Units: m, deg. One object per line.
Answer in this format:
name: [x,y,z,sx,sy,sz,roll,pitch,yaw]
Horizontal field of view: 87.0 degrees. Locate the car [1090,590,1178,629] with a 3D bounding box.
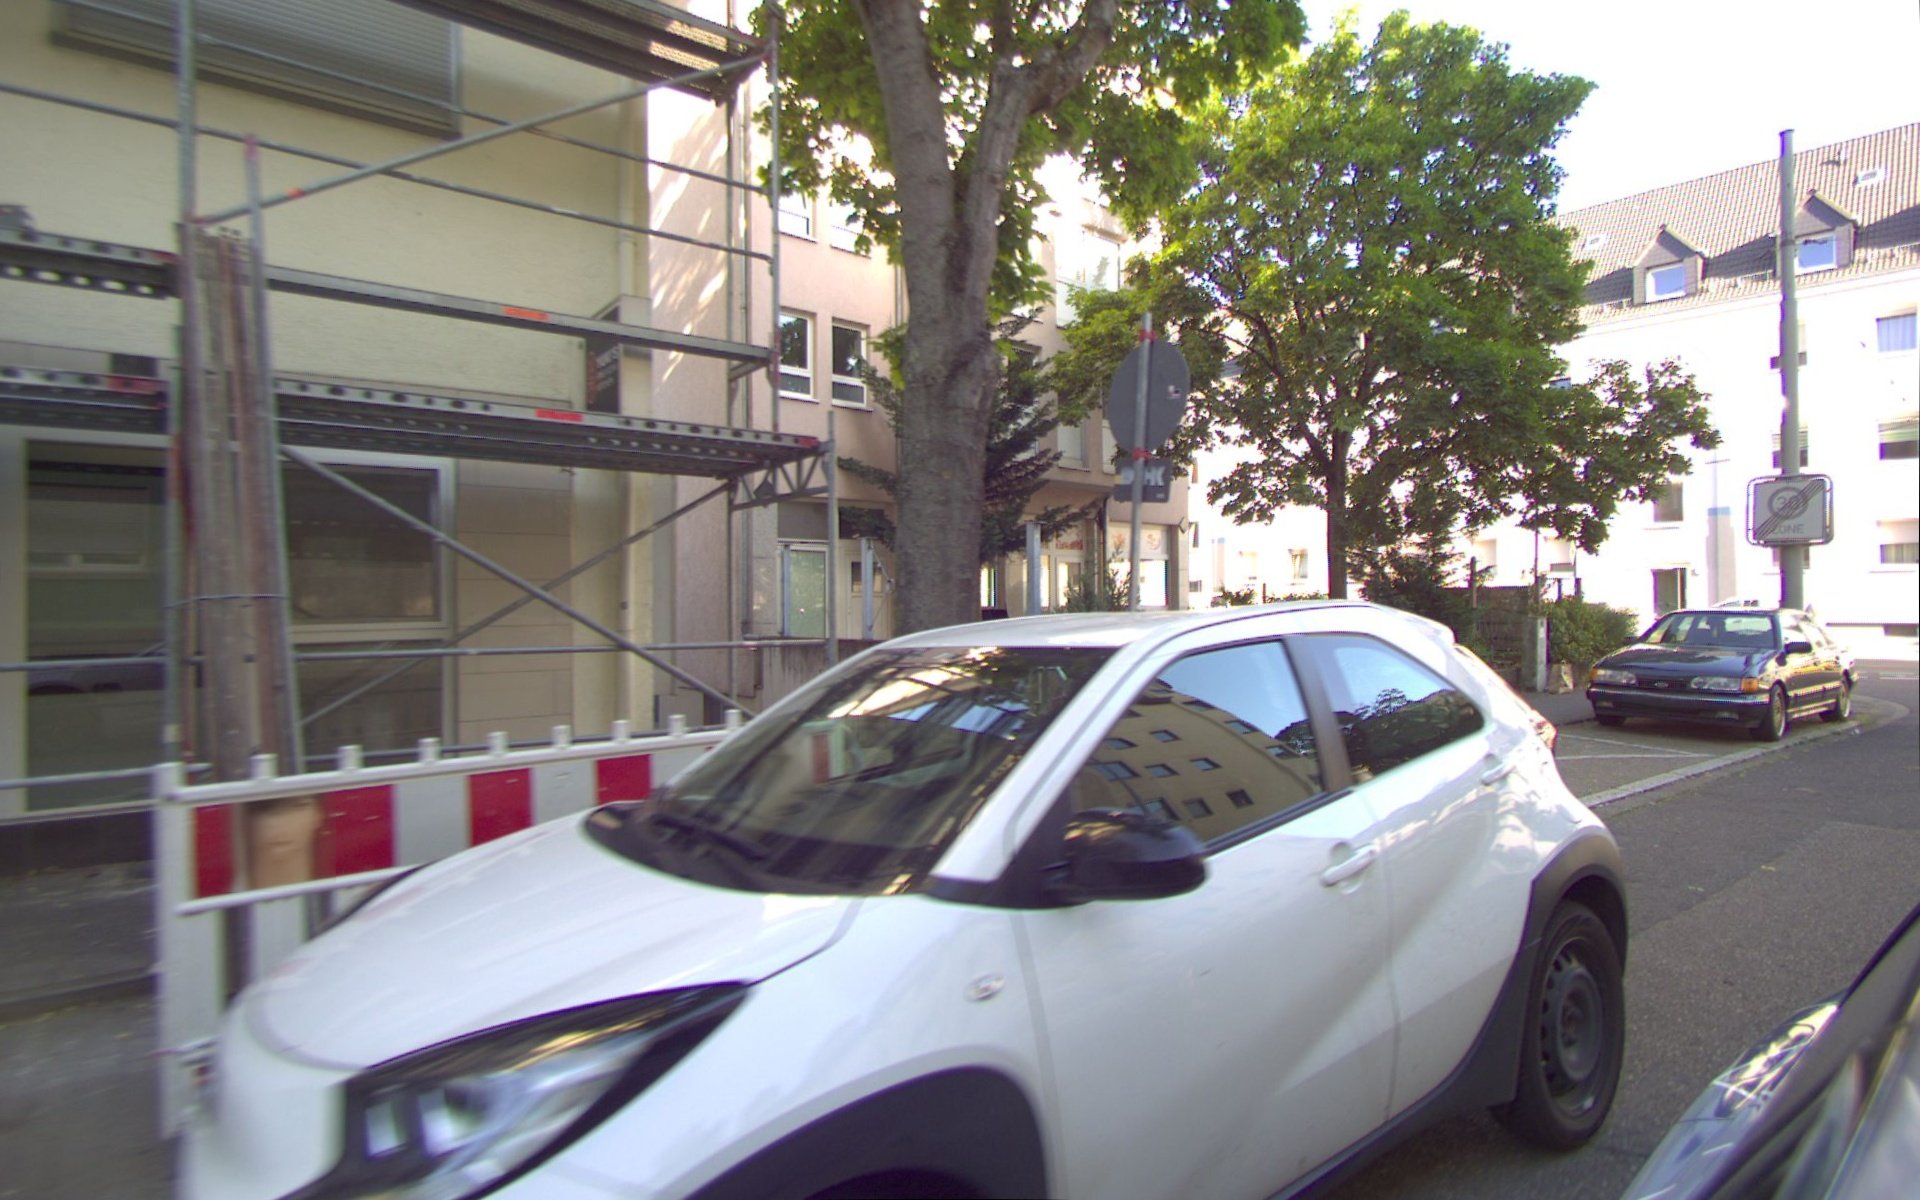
car: [8.357,0.466,48.713,1.666,1.804,3.991,0,-1,-42]

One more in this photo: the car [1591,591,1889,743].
car: [9.379,0.650,12.046,4.424,1.425,1.666,-1,3,-37]

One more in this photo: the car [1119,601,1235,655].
car: [5.923,0.738,27.770,2.869,1.373,1.244,-1,1,43]

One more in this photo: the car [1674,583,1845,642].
car: [23.268,0.379,29.539,1.622,1.627,3.697,0,-1,-44]

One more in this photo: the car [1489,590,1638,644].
car: [19.831,0.575,33.370,1.622,1.527,3.866,0,-4,-44]

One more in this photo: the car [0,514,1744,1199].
car: [0.239,0.706,2.669,3.889,1.555,1.808,-1,-1,-35]

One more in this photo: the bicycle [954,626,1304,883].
bicycle: [0.960,0.820,6.115,1.963,1.169,0.741,4,3,40]

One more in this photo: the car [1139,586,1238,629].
car: [9.949,0.326,44.332,1.666,1.804,3.991,0,-1,-42]
